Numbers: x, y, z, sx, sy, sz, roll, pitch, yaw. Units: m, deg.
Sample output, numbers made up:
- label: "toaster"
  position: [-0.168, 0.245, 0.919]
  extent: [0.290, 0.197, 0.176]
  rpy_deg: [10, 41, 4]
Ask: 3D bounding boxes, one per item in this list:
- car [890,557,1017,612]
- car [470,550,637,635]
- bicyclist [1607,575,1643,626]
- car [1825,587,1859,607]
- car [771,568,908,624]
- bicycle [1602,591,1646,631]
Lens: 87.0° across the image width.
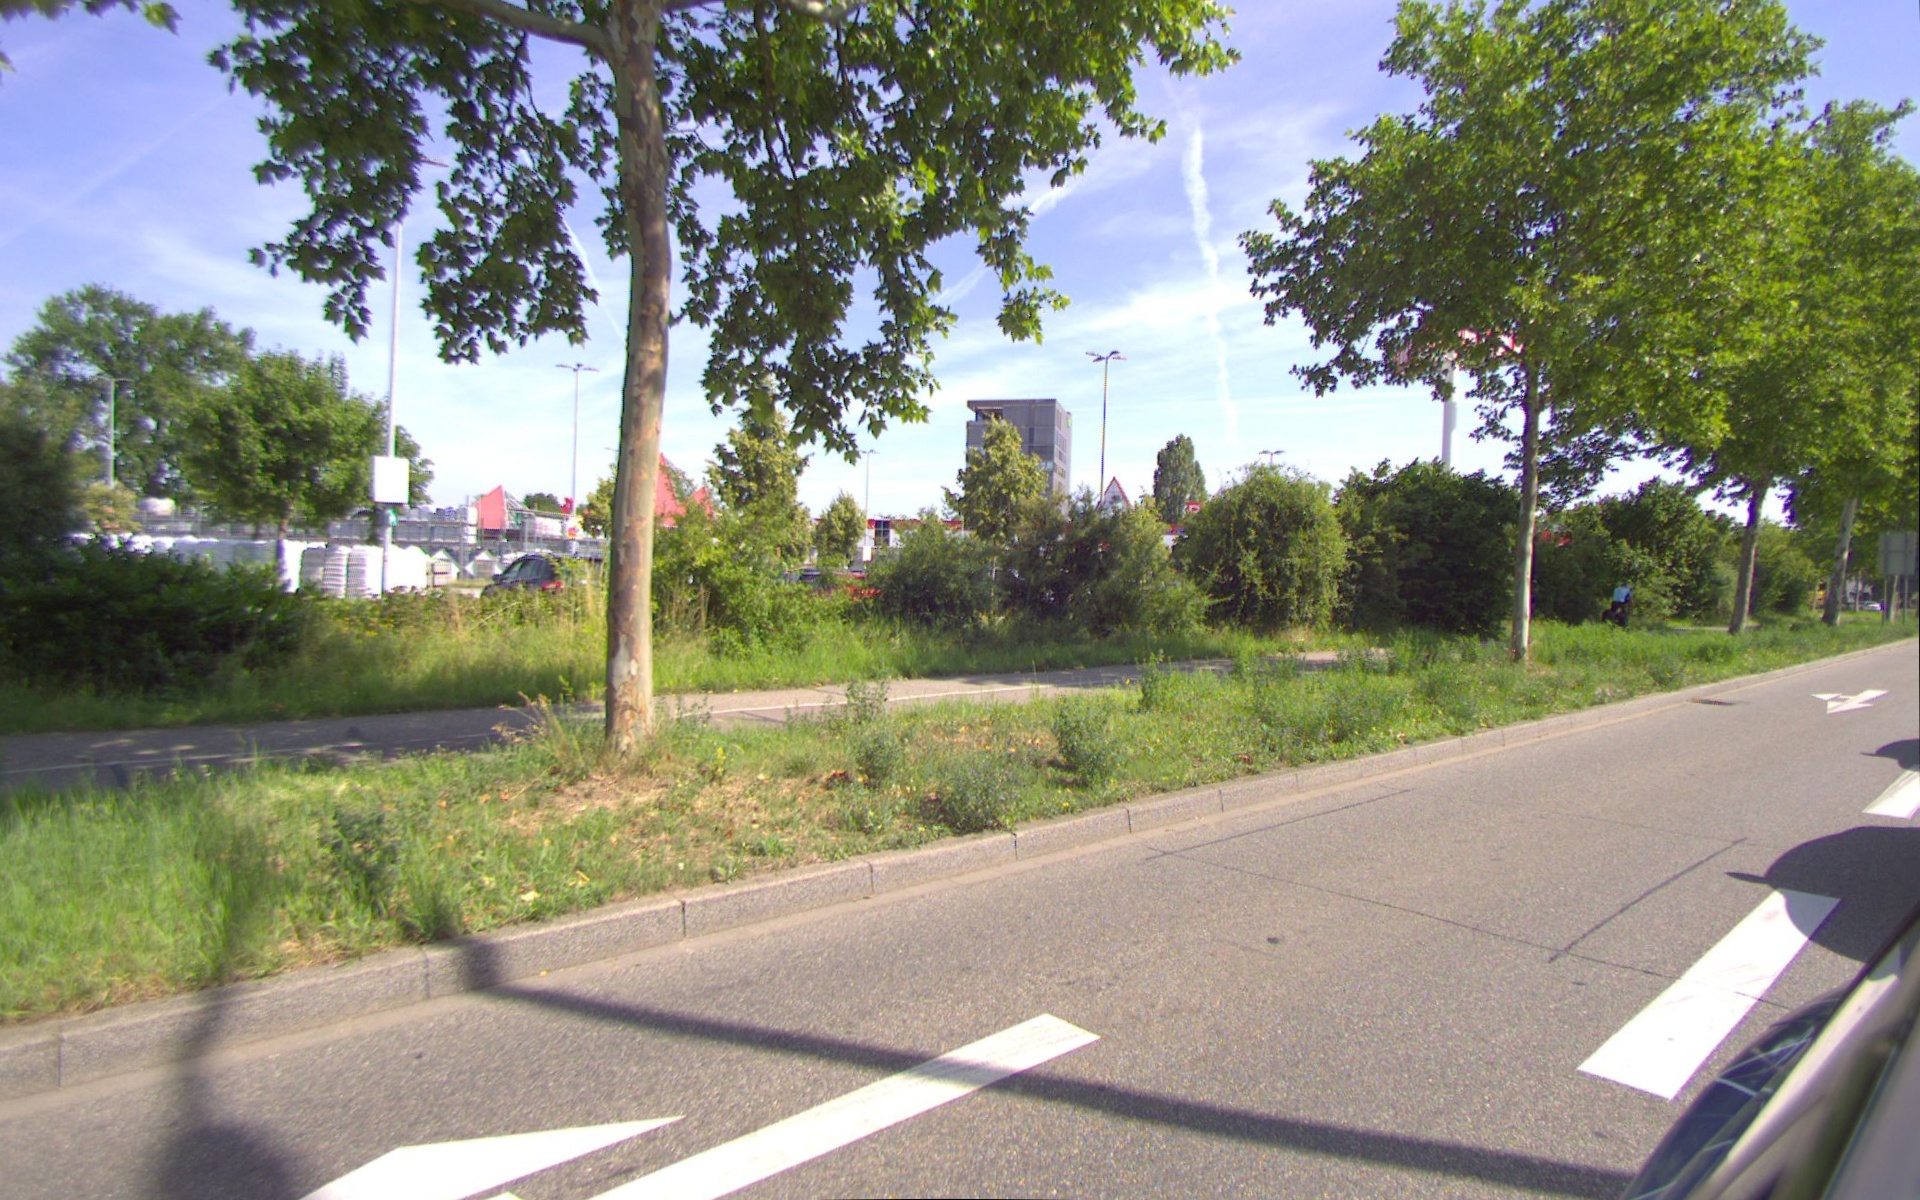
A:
- label: "car"
  position: [-0.189, -0.524, 32.590]
  extent: [3.801, 1.604, 1.844]
  rpy_deg: [2, 2, 11]
- label: "car"
  position: [-8.635, -0.212, 21.357]
  extent: [3.850, 1.604, 1.821]
  rpy_deg: [3, 2, 43]
- label: "bicyclist"
  position: [21.954, 0.007, 33.413]
  extent: [0.984, 1.651, 0.686]
  rpy_deg: [0, 2, -41]
- label: "car"
  position: [116.521, -0.430, 133.799]
  extent: [2.047, 2.439, 5.947]
  rpy_deg: [2, 2, 28]
- label: "car"
  position: [-3.229, -0.144, 26.819]
  extent: [3.553, 1.316, 1.740]
  rpy_deg: [3, 2, 43]
- label: "bicycle"
  position: [21.937, 0.338, 33.413]
  extent: [1.900, 1.252, 0.686]
  rpy_deg: [0, 2, -41]
